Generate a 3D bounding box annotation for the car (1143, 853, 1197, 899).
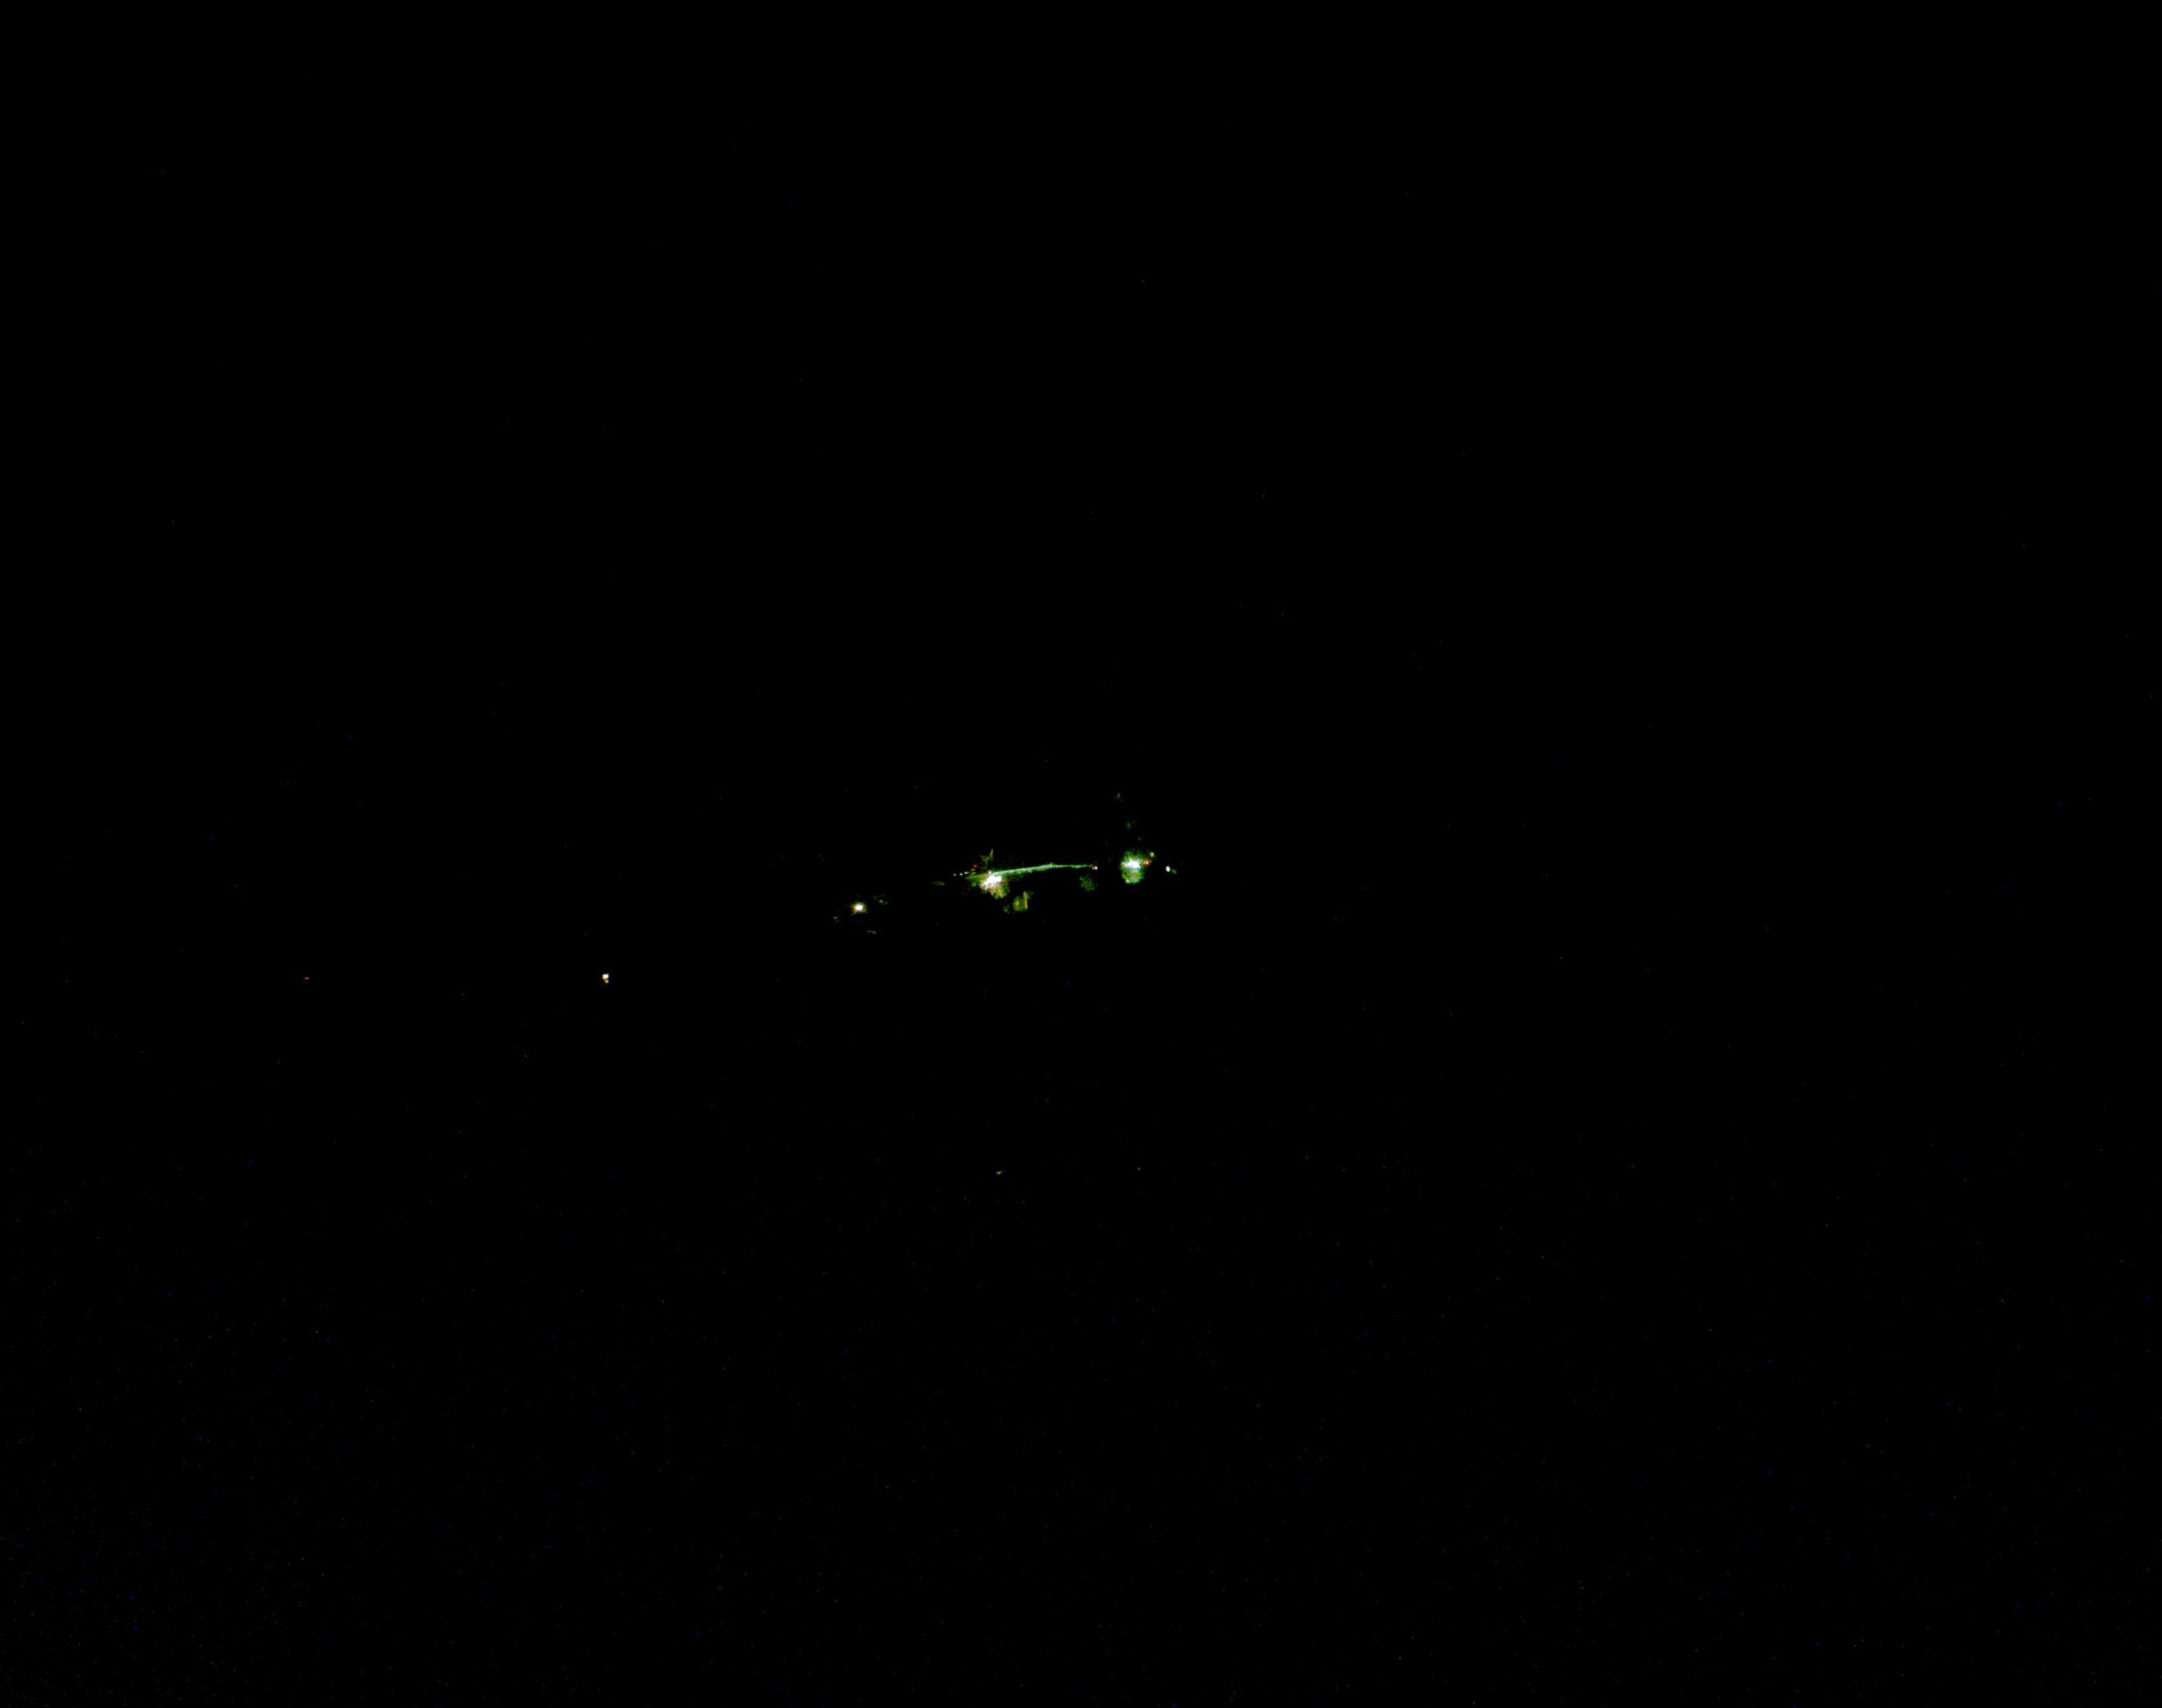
[{"bbox_3d":[4.097,1.086,38.215,2.188,2.014,4.208,-1,-3,2],"label":"car"}]
